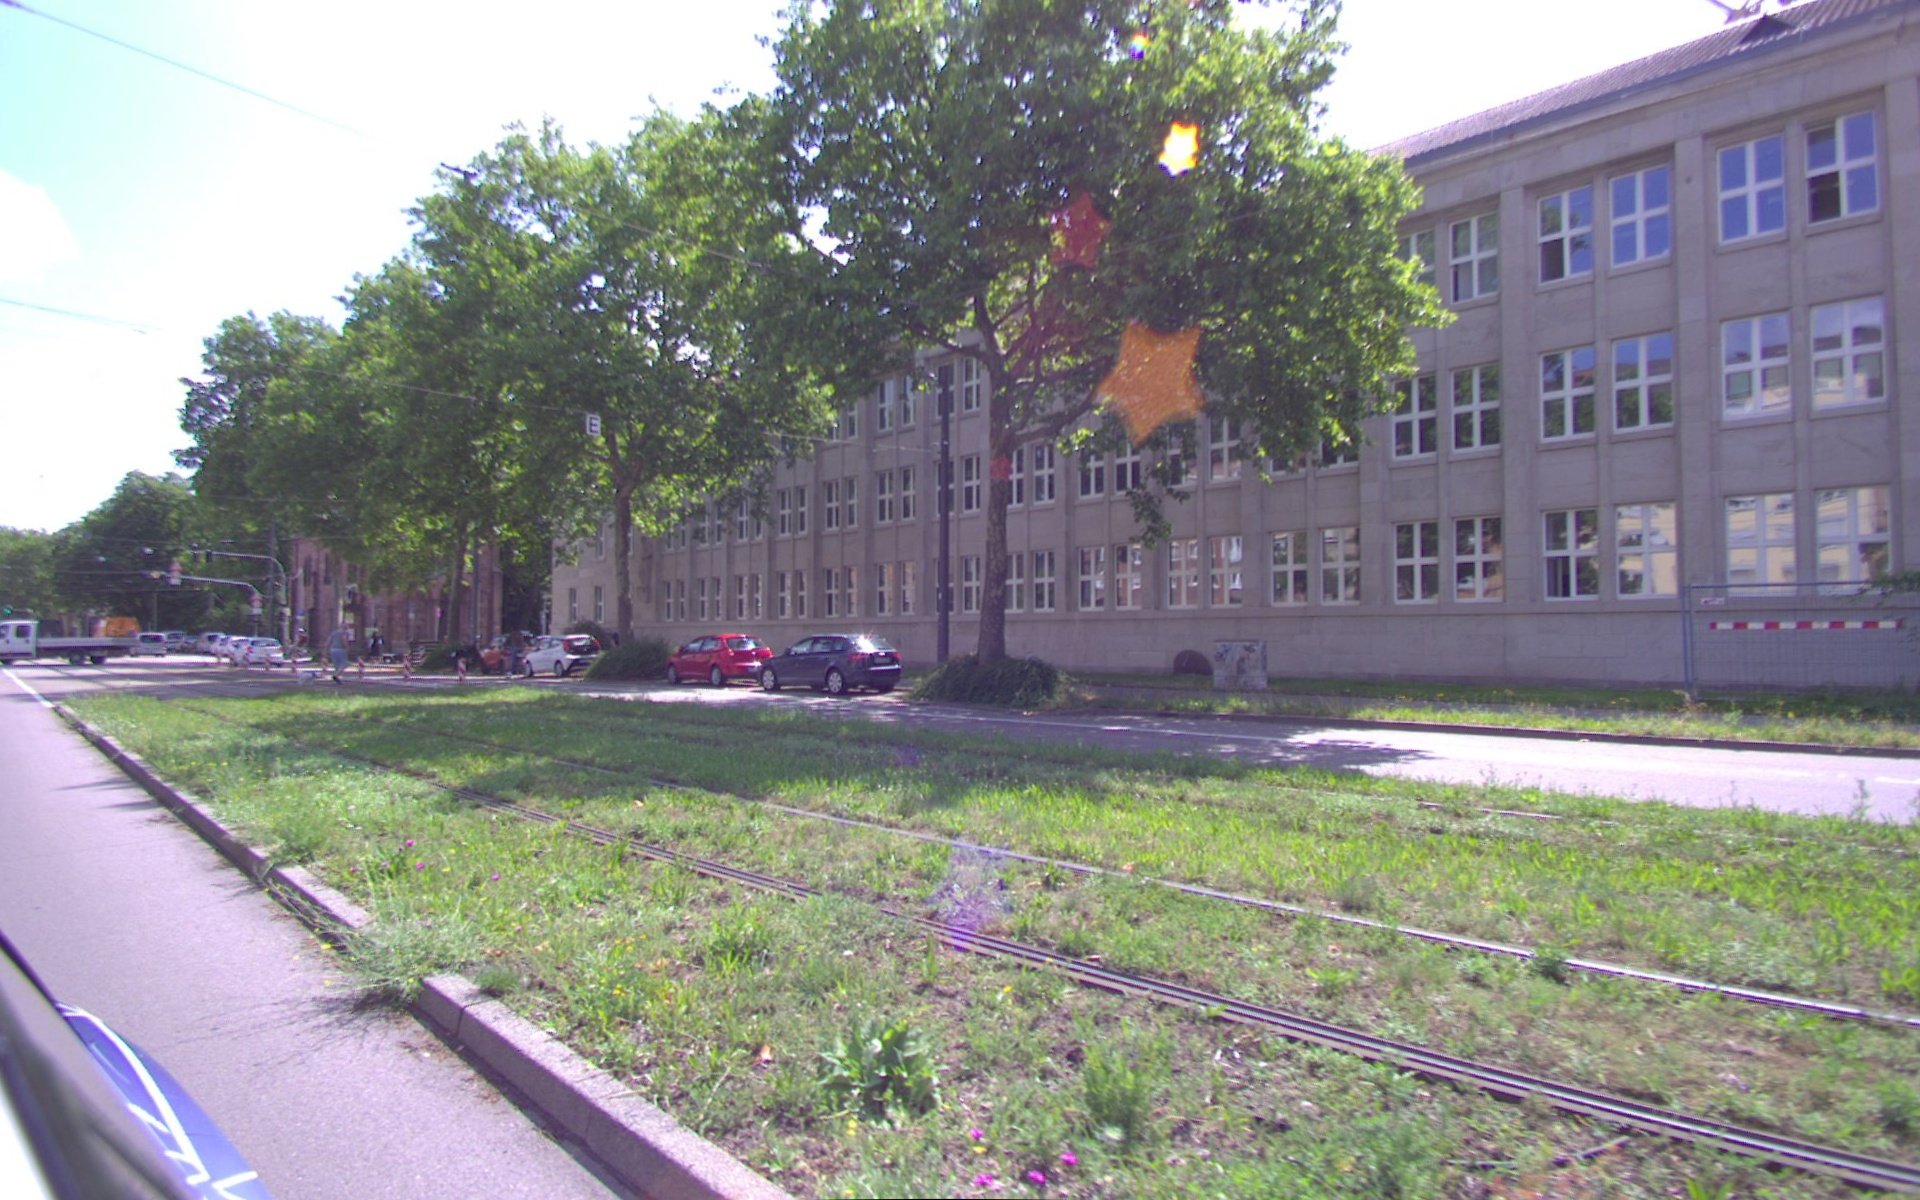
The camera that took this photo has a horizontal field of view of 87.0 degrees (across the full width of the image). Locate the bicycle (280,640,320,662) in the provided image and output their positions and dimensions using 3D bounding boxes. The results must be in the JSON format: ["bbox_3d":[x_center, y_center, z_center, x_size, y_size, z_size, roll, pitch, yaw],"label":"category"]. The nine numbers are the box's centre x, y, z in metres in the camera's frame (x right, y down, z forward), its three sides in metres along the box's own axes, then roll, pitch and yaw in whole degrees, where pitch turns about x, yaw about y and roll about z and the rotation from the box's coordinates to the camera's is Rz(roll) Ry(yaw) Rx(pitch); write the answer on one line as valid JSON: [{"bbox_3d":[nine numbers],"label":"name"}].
[{"bbox_3d":[-42.938,3.294,65.823,0.671,1.300,2.062,-2,-1,37],"label":"bicycle"}]

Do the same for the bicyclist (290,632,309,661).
[{"bbox_3d":[-42.974,3.021,65.833,0.661,1.798,0.874,-2,-1,37],"label":"bicyclist"}]

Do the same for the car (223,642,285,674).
[{"bbox_3d":[-34.680,2.850,49.682,3.788,1.491,1.740,-3,-6,44],"label":"car"}]

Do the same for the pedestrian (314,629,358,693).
[{"bbox_3d":[-17.140,1.653,27.808,0.696,1.717,0.780,-1,-2,14],"label":"pedestrian"}]

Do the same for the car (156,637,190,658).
[{"bbox_3d":[-76.147,4.585,97.934,4.085,2.019,1.967,-2,-2,42],"label":"car"}]

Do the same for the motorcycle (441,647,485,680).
[{"bbox_3d":[-20.948,2.659,42.719,0.538,1.184,2.103,-5,0,6],"label":"motorcycle"}]

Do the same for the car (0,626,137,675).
[{"bbox_3d":[-46.130,2.544,51.073,6.867,2.392,2.267,0,-2,-10],"label":"car"}]

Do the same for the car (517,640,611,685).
[{"bbox_3d":[-13.924,2.174,35.544,3.491,1.465,1.727,-3,-2,43],"label":"car"}]

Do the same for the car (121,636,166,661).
[{"bbox_3d":[-59.921,3.547,74.223,4.538,1.759,1.899,-2,-5,44],"label":"car"}]

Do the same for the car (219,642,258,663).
[{"bbox_3d":[-54.420,3.931,76.306,1.736,1.508,4.002,1,-2,-45],"label":"car"}]

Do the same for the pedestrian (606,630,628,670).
[{"bbox_3d":[-13.976,2.031,41.202,0.795,1.603,0.547,-2,-2,44],"label":"pedestrian"}]

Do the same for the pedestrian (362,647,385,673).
[{"bbox_3d":[-29.581,3.014,51.073,0.746,1.221,0.914,-5,2,-43],"label":"pedestrian"}]

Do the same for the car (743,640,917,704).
[{"bbox_3d":[-3.261,1.726,24.827,4.317,1.379,1.905,-3,-2,43],"label":"car"}]

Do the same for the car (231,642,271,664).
[{"bbox_3d":[-51.180,3.823,73.050,1.736,1.508,4.002,1,-2,-45],"label":"car"}]

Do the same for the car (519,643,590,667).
[{"bbox_3d":[-28.268,3.812,70.552,4.369,1.620,1.753,0,-3,15],"label":"car"}]

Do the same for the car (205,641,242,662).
[{"bbox_3d":[-57.797,4.037,79.408,1.736,1.508,4.002,1,-2,-45],"label":"car"}]

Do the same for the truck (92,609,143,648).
[{"bbox_3d":[-72.814,2.471,87.391,2.609,3.130,7.226,5,-5,-45],"label":"truck"}]

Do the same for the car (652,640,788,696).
[{"bbox_3d":[-6.848,1.882,28.621,1.904,1.431,4.052,0,-2,-45],"label":"car"}]

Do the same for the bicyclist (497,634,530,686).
[{"bbox_3d":[-15.024,2.009,34.042,0.783,1.717,0.753,-2,-2,42],"label":"bicyclist"}]

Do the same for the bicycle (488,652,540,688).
[{"bbox_3d":[-15.006,2.327,34.042,2.277,1.118,0.782,-2,-2,43],"label":"bicycle"}]

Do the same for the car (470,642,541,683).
[{"bbox_3d":[-17.511,2.405,38.969,2.883,1.465,1.470,-3,-2,43],"label":"car"}]

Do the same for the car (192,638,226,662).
[{"bbox_3d":[-62.278,4.120,83.878,1.736,1.850,4.002,1,-2,-45],"label":"car"}]
